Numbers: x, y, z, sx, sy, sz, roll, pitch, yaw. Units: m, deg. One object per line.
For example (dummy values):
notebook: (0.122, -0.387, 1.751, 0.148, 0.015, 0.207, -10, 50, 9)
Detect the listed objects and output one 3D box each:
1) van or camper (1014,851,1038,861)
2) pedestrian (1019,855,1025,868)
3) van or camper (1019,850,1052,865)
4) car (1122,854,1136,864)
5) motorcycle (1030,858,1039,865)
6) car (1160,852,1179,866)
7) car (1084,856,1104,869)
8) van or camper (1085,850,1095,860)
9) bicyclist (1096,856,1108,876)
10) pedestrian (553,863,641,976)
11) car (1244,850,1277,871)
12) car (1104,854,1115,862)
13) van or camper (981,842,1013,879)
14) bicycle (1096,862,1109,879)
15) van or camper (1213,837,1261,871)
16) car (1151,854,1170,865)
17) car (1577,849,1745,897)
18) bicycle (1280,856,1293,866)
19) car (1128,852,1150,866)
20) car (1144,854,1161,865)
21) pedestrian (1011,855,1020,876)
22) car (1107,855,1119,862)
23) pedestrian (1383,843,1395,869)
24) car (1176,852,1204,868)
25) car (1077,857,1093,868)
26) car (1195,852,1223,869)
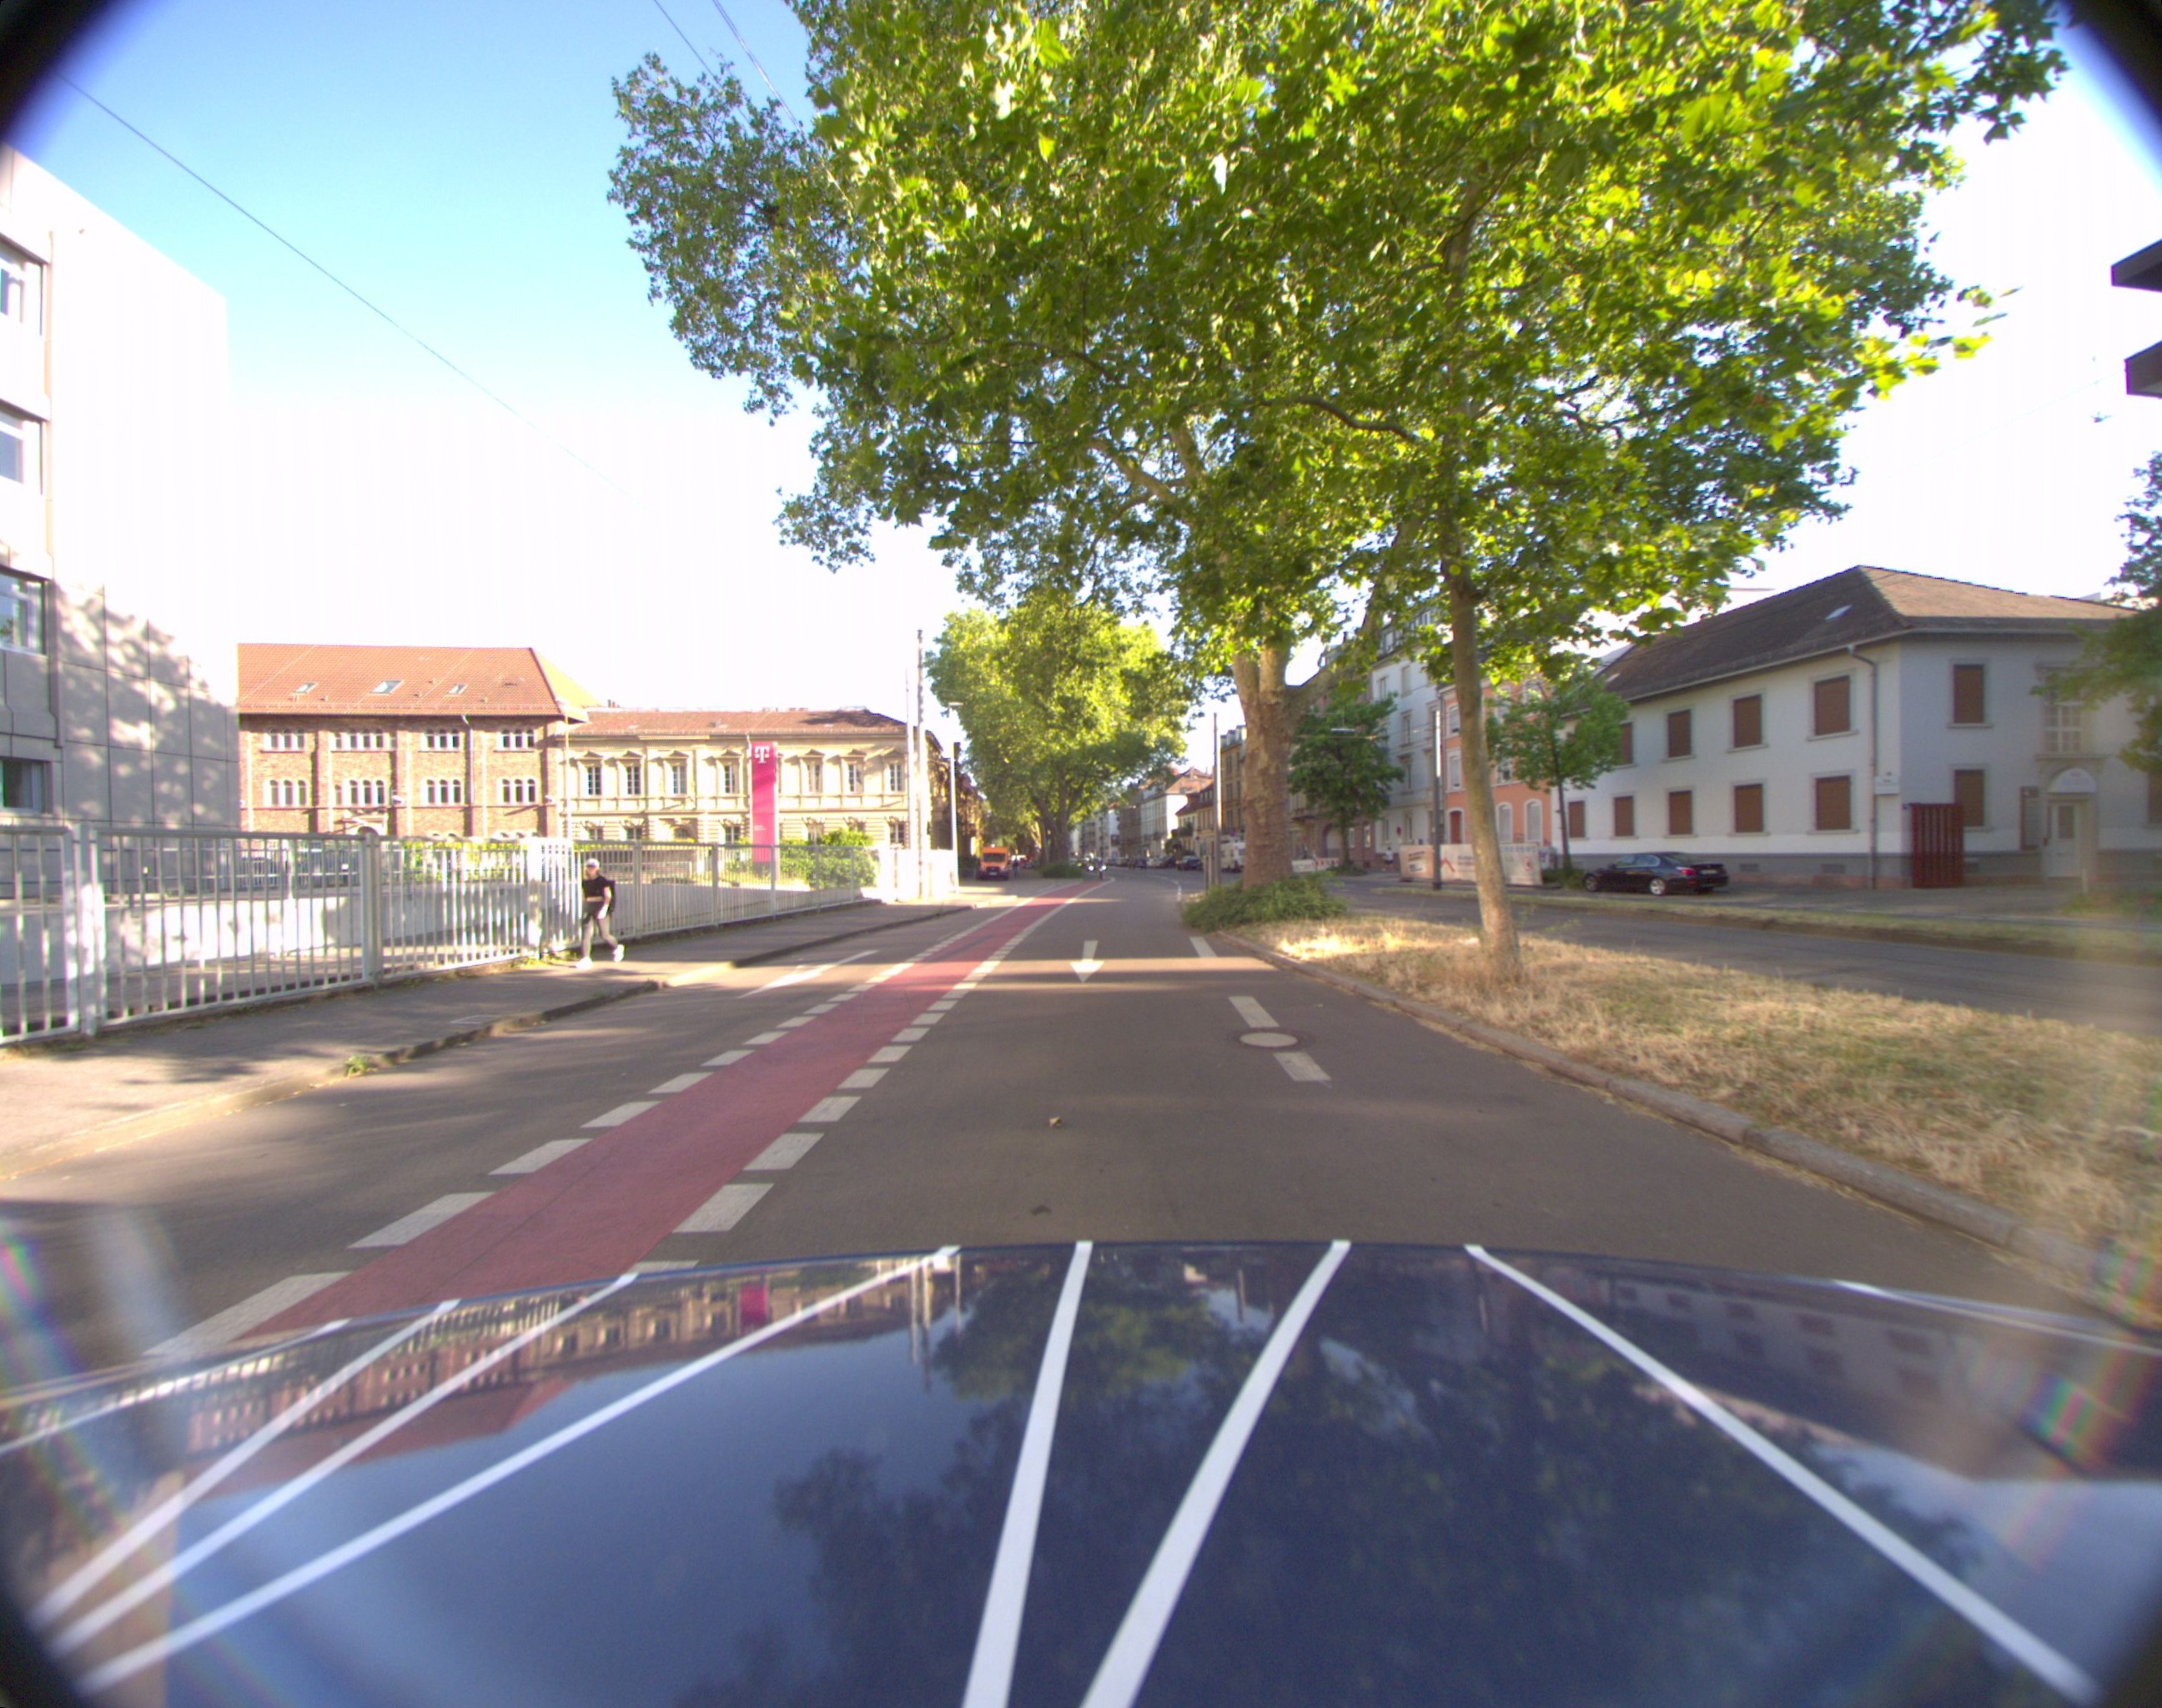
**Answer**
van or camper: (-14.174, 0.560, 196.776, 6.102, 2.417, 2.427, -1, 0, -5)
pedestrian: (-7.282, 0.911, 93.299, 0.671, 1.610, 1.101, 1, 1, -8)
van or camper: (-8.217, 0.621, 136.928, 5.931, 2.484, 2.218, -1, 3, -7)
car: (8.441, 0.870, 133.115, 1.799, 1.587, 4.081, -3, 0, -6)
motorcycle: (-7.153, 1.205, 116.632, 1.274, 1.048, 0.394, -1, 1, -42)
car: (11.895, 0.605, 102.683, 1.729, 1.736, 3.624, -4, 0, -5)
car: (1.499, 0.967, 87.856, 1.740, 1.365, 3.917, -3, 0, -6)
van or camper: (2.209, 0.233, 194.701, 1.946, 2.267, 4.595, -3, 0, -6)
bicyclist: (1.516, 0.847, 54.031, 0.715, 1.435, 0.953, -1, 0, -5)
pedestrian: (-7.514, 0.995, 11.840, 0.697, 1.674, 0.931, -1, 1, 5)
car: (15.807, 0.594, 67.214, 1.635, 1.696, 3.369, -4, 1, -8)
car: (5.954, 0.839, 158.699, 1.799, 1.617, 4.081, -3, 0, -6)
van or camper: (-6.136, 0.449, 56.075, 2.041, 2.544, 5.771, -1, 0, -3)
bicycle: (1.522, 1.182, 53.979, 0.715, 1.131, 2.119, -1, 0, -5)
van or camper: (14.981, -0.010, 73.551, 2.426, 2.930, 7.248, -4, 0, -4)
car: (11.186, 0.790, 107.036, 1.668, 1.446, 4.402, -4, 0, -6)
car: (20.115, 0.617, 26.687, 2.000, 1.505, 4.722, -1, 0, -6)
bicycle: (19.346, 0.651, 71.504, 0.580, 0.919, 1.791, -1, 0, -3)
car: (7.474, 0.625, 98.425, 2.000, 1.679, 4.307, -1, 0, -7)
car: (10.623, 0.831, 112.431, 1.587, 1.482, 4.468, -3, 0, -6)
pedestrian: (-5.309, 0.918, 61.657, 0.653, 1.726, 1.006, -1, 0, -9)
car: (6.474, 0.897, 153.425, 1.799, 1.368, 4.081, -3, 0, -6)
pedestrian: (21.226, 0.154, 52.354, 0.599, 1.807, 0.481, -1, 1, -5)
car: (12.960, 0.681, 90.547, 1.999, 1.693, 4.748, -5, 0, -6)
car: (0.510, 1.109, 102.762, 1.740, 1.365, 3.917, -3, 0, -6)
car: (13.940, 0.677, 82.947, 1.816, 1.695, 4.440, -5, 0, -6)
